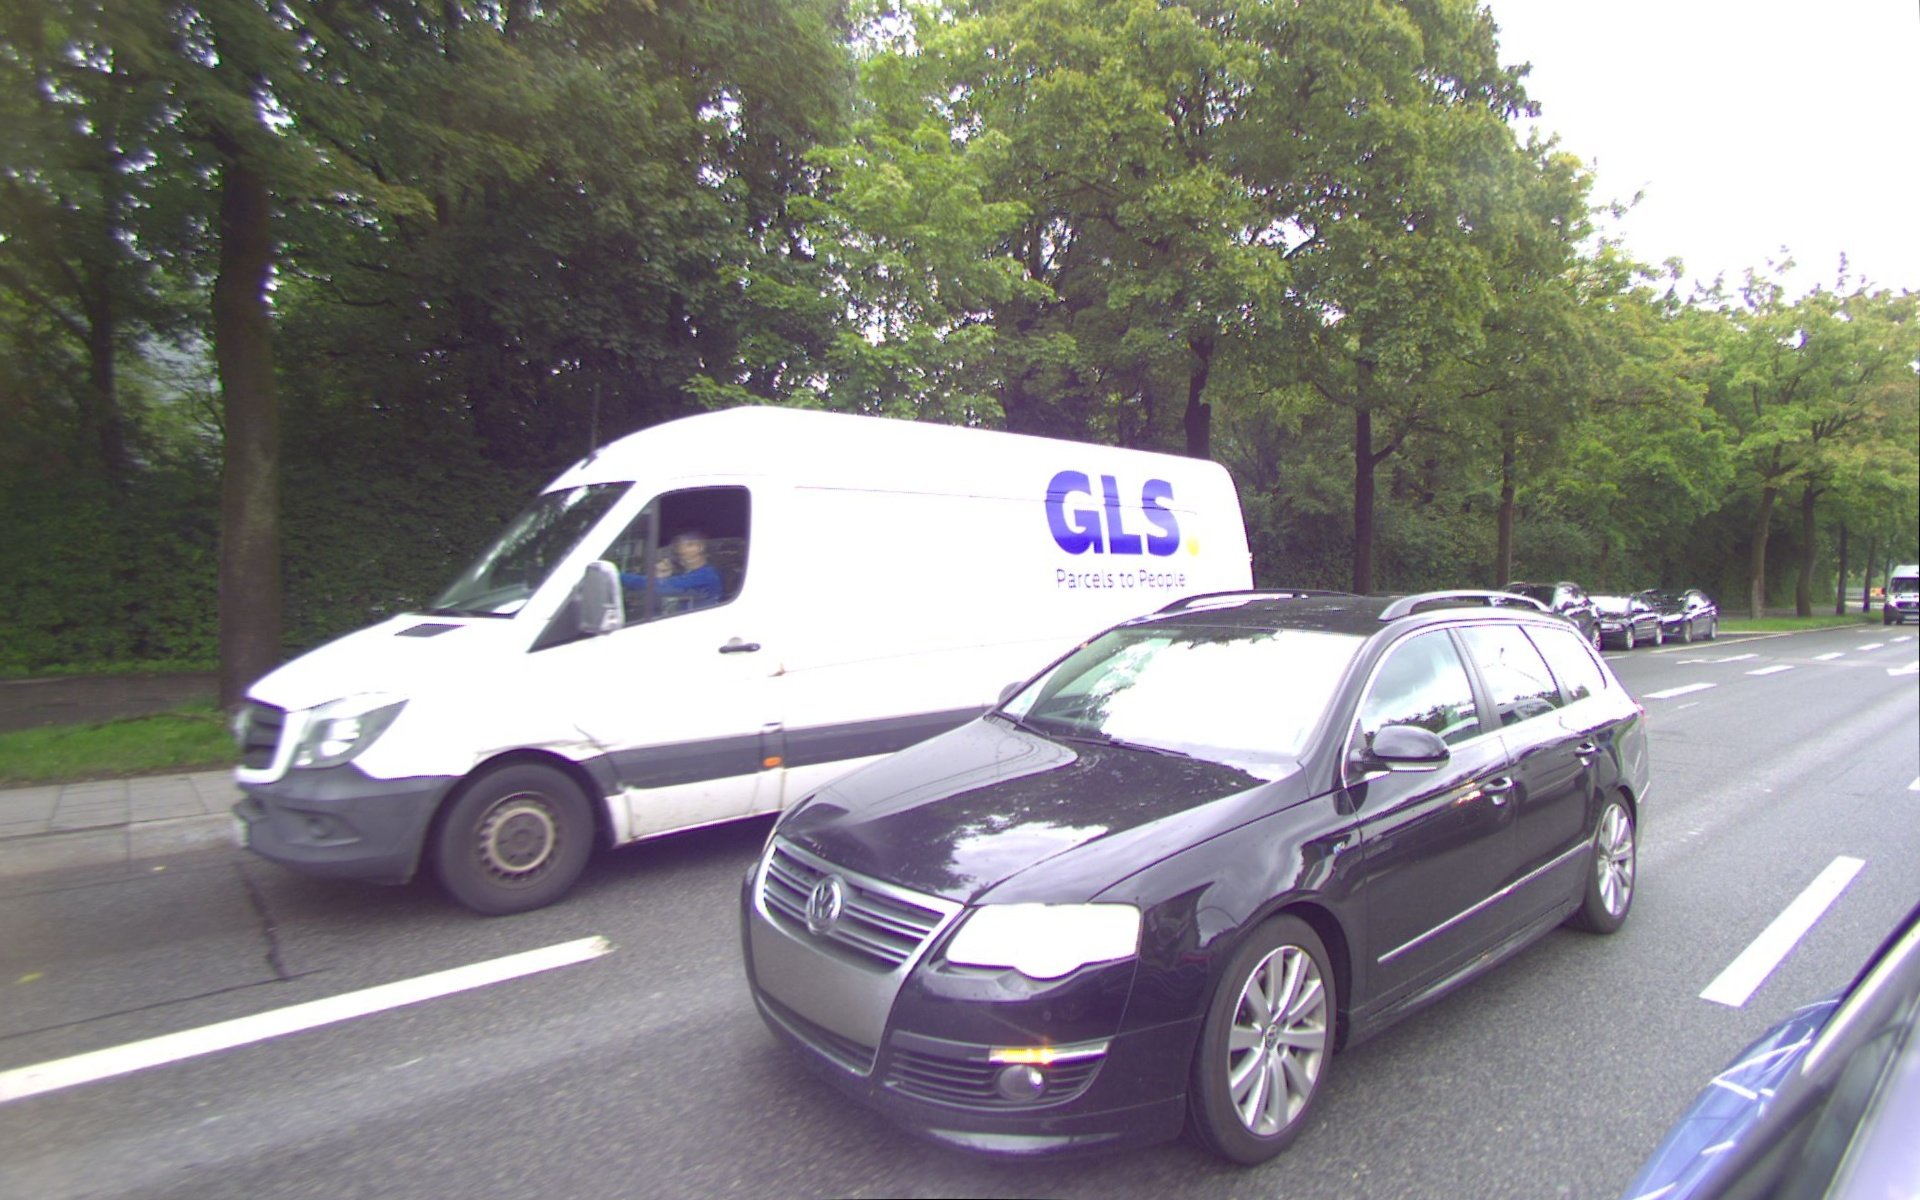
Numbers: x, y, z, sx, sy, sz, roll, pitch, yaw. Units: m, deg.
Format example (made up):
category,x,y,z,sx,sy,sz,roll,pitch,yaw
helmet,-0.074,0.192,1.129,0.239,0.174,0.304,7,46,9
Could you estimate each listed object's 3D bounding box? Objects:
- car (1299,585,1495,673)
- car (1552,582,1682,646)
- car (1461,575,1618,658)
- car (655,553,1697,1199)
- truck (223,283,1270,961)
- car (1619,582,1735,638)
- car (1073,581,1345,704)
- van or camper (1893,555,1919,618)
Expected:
category,x,y,z,sx,sy,sz,roll,pitch,yaw
car,8.274,0.457,19.007,4.181,1.446,1.751,-1,2,-41
car,16.879,0.298,25.935,3.968,1.485,1.751,-1,2,-41
car,12.986,0.286,22.577,4.181,1.670,1.751,-1,2,-41
car,1.308,0.615,4.114,4.590,1.493,1.750,-1,1,-41
truck,-0.659,0.028,7.051,7.102,2.636,1.997,-1,1,-42
car,20.527,0.230,28.925,4.181,1.485,1.751,-1,2,-41
car,3.789,0.502,14.990,4.320,1.543,1.751,-1,2,-41
van or camper,42.734,-0.600,44.016,6.948,2.593,2.183,-1,2,-39
